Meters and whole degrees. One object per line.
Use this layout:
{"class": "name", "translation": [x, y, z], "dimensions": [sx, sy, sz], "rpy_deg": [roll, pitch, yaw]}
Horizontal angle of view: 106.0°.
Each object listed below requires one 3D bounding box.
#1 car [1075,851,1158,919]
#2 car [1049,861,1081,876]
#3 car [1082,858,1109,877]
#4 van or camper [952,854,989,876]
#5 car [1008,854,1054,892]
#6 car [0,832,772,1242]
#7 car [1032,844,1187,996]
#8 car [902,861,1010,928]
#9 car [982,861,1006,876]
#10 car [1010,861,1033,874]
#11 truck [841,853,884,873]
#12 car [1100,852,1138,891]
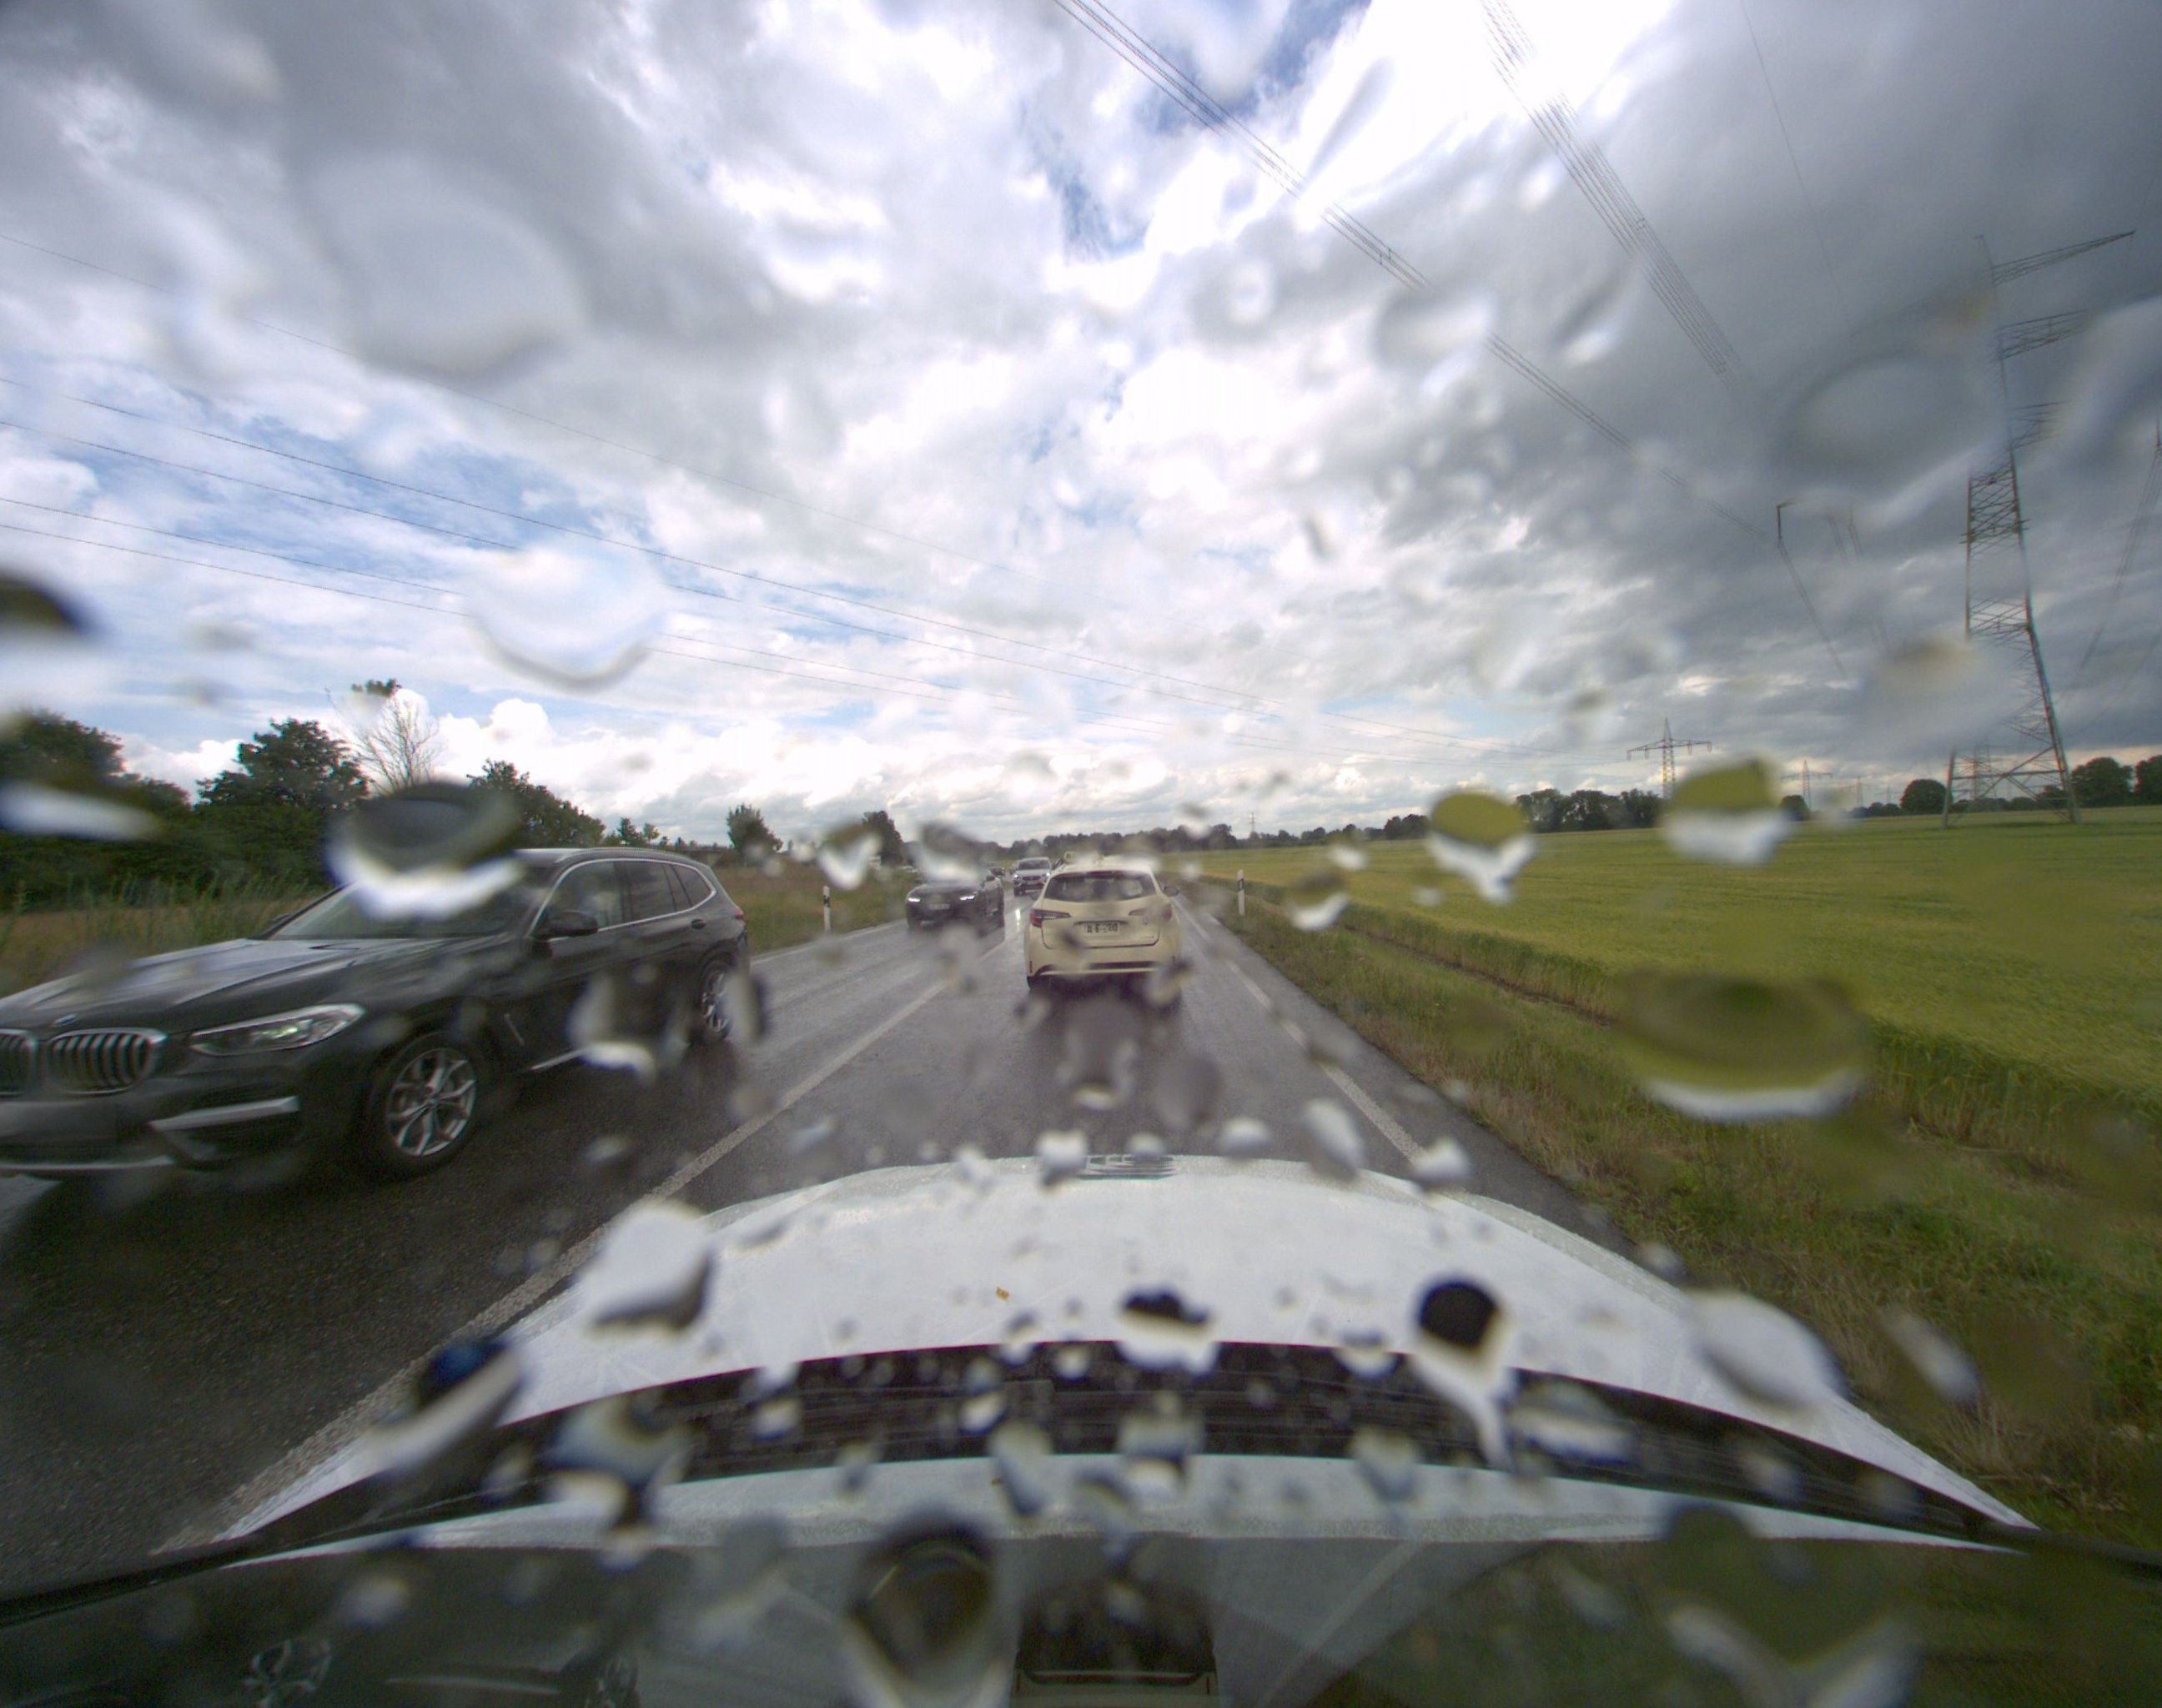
{"class": "car", "translation": [0.846, 0.710, 20.214], "dimensions": [1.834, 1.492, 4.609], "rpy_deg": [0, -1, 1]}
{"class": "car", "translation": [-1.530, 1.416, 77.626], "dimensions": [1.964, 1.413, 4.366], "rpy_deg": [1, -2, -17]}
{"class": "car", "translation": [1.049, 1.044, 61.749], "dimensions": [1.611, 1.413, 3.729], "rpy_deg": [0, -2, -6]}
{"class": "van or camper", "translation": [-14.902, 1.475, 109.200], "dimensions": [2.552, 2.896, 6.678], "rpy_deg": [0, -1, -30]}
{"class": "car", "translation": [-2.314, 0.870, 38.448], "dimensions": [1.903, 1.609, 4.089], "rpy_deg": [-2, -1, -1]}
{"class": "car", "translation": [-4.014, 0.764, 5.567], "dimensions": [1.841, 1.631, 4.538], "rpy_deg": [-1, 0, 3]}
{"class": "car", "translation": [0.473, 0.734, 10.303], "dimensions": [1.605, 1.562, 3.743], "rpy_deg": [0, -2, 5]}
{"class": "car", "translation": [-3.054, 0.953, 20.752], "dimensions": [1.841, 1.448, 4.094], "rpy_deg": [-2, -1, 3]}
{"class": "car", "translation": [-9.536, 1.637, 88.967], "dimensions": [1.763, 1.559, 3.972], "rpy_deg": [1, -2, -20]}
{"class": "car", "translation": [-6.826, 1.600, 93.090], "dimensions": [1.789, 1.413, 3.714], "rpy_deg": [1, -2, -19]}
{"class": "truck", "translation": [-36.571, 1.556, 136.321], "dimensions": [8.128, 3.210, 3.041], "rpy_deg": [-1, -2, 42]}
{"class": "car", "translation": [1.744, 0.790, 36.469], "dimensions": [1.605, 1.659, 3.742], "rpy_deg": [0, -2, 4]}
